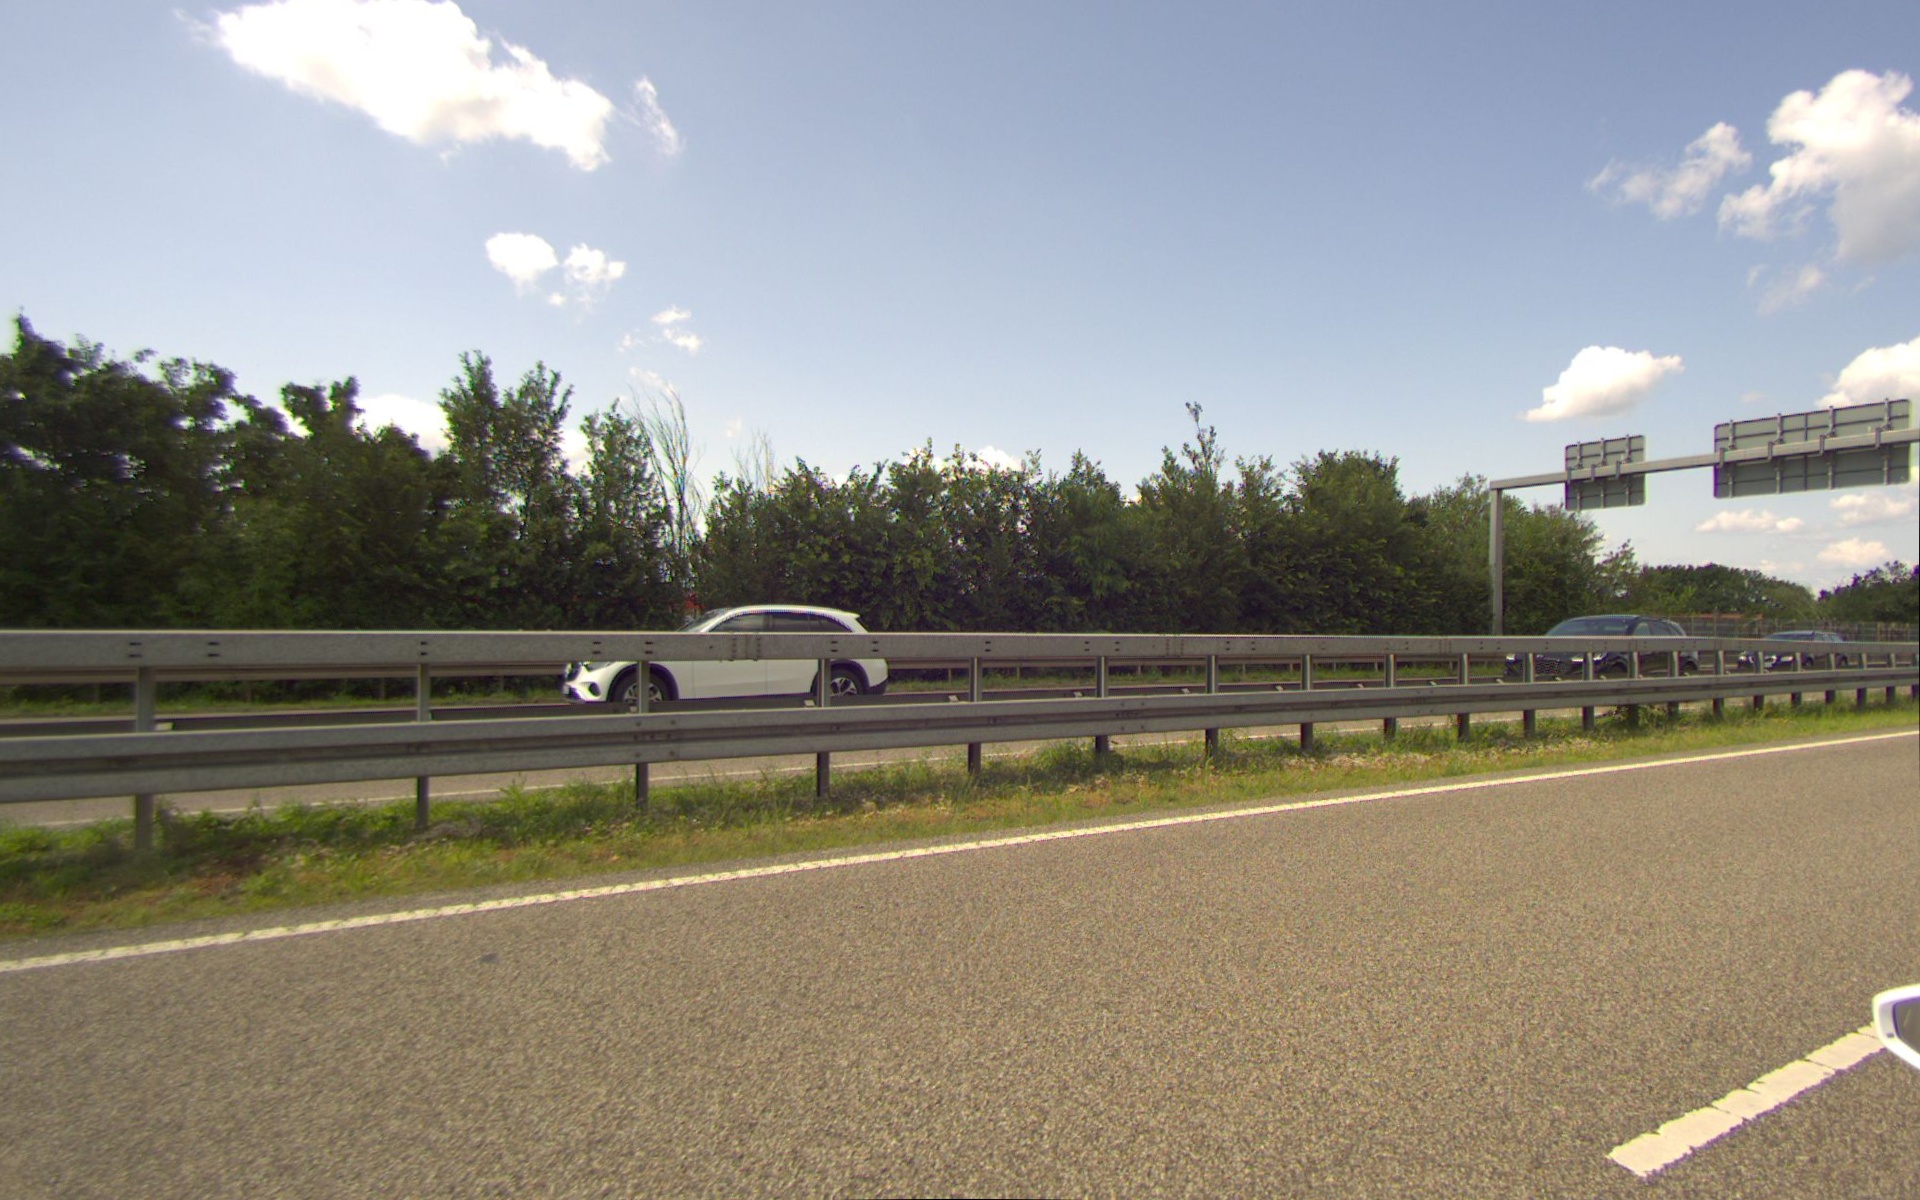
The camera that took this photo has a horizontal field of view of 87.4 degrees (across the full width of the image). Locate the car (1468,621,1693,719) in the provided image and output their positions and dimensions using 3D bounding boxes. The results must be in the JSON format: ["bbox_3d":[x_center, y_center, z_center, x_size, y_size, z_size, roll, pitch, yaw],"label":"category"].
[{"bbox_3d":[11.896,1.287,19.217,4.085,1.618,1.984,2,0,-31],"label":"car"}]

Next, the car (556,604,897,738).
[{"bbox_3d":[-3.378,0.968,14.738,4.496,1.668,1.952,2,0,-30],"label":"car"}]

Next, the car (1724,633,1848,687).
[{"bbox_3d":[27.087,1.942,32.900,4.504,1.596,1.693,2,0,-31],"label":"car"}]
